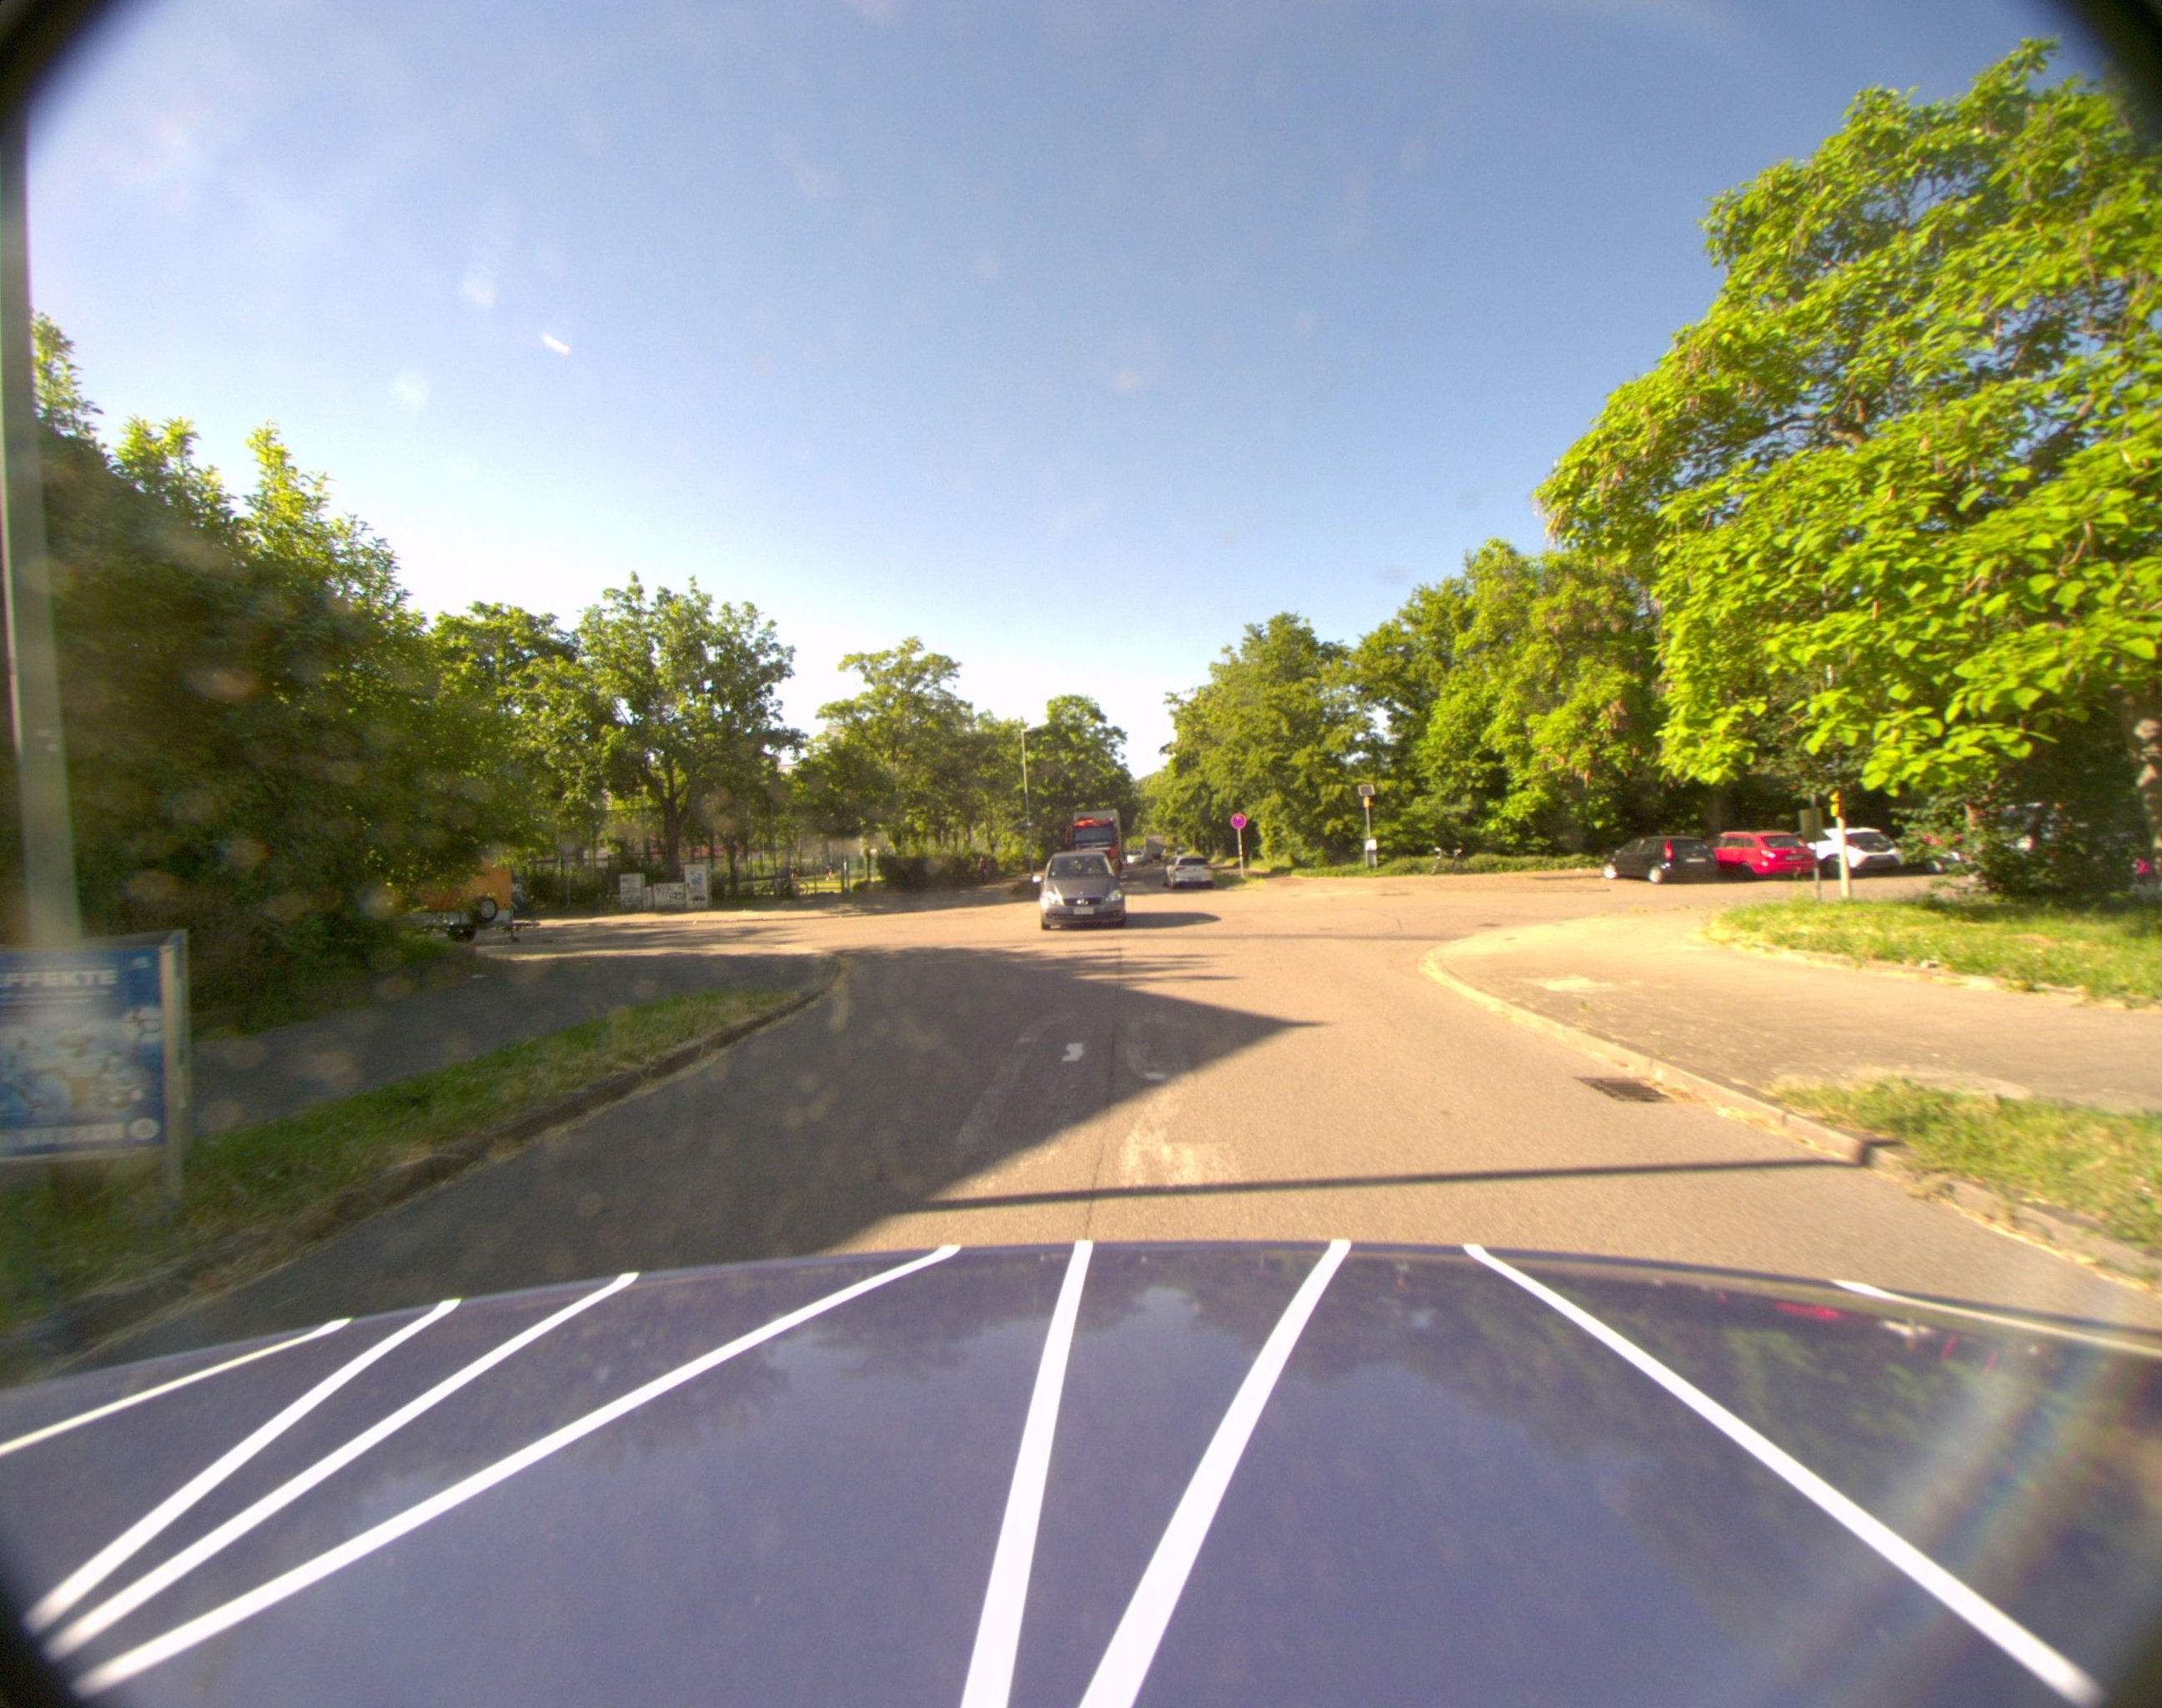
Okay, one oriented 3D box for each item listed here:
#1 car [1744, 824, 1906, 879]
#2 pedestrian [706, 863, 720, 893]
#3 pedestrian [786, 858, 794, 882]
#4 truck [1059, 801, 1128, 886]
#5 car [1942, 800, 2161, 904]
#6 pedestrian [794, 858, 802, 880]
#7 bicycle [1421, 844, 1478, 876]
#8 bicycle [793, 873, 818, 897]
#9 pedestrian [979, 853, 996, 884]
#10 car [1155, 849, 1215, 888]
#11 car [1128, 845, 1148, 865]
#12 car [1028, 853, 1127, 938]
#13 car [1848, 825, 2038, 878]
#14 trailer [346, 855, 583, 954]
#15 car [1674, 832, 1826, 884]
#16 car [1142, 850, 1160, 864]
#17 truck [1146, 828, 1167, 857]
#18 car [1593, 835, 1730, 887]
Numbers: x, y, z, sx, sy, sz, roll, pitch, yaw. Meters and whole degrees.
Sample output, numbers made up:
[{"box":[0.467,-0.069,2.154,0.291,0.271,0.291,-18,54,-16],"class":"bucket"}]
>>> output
[{"box":[24.206,-0.141,24.927,1.673,1.594,3.885,-2,2,4],"class":"car"},{"box":[-19.241,1.248,39.696,0.437,1.527,0.429,-2,1,0],"class":"pedestrian"},{"box":[-19.185,1.038,50.045,0.320,1.527,0.393,-2,1,0],"class":"pedestrian"},{"box":[0.951,-0.574,45.063,3.165,4.319,10.586,-2,0,5],"class":"truck"},{"box":[21.255,-0.051,15.598,4.460,1.957,2.070,-2,-1,7],"class":"car"},{"box":[-19.681,1.026,52.833,0.317,1.527,0.402,-2,1,0],"class":"pedestrian"},{"box":[14.477,0.222,29.900,1.902,1.146,0.760,-2,4,15],"class":"bicycle"},{"box":[-11.458,1.268,31.592,0.909,0.953,0.294,-3,1,-44],"class":"bicycle"},{"box":[-4.960,0.769,40.325,0.641,1.629,0.641,-2,1,7],"class":"pedestrian"},{"box":[4.472,0.581,33.190,1.666,1.458,4.186,-1,2,-5],"class":"car"},{"box":[5.571,0.088,74.773,1.844,1.795,4.030,-3,0,4],"class":"car"},{"box":[0.035,0.825,17.011,1.854,1.635,3.757,-2,0,4],"class":"car"},{"box":[26.703,-0.137,23.753,1.673,1.479,3.885,-2,2,4],"class":"car"},{"box":[-14.531,1.157,18.073,4.070,2.107,1.979,-2,0,4],"class":"trailer"},{"box":[21.442,0.057,24.581,1.673,1.479,3.885,-2,2,4],"class":"car"},{"box":[8.557,0.357,92.899,1.998,1.576,4.001,-2,0,3],"class":"car"},{"box":[10.771,-1.674,109.136,2.802,3.996,9.627,-1,2,5],"class":"truck"},{"box":[18.807,0.178,24.827,1.673,1.479,3.885,-2,2,4],"class":"car"}]
